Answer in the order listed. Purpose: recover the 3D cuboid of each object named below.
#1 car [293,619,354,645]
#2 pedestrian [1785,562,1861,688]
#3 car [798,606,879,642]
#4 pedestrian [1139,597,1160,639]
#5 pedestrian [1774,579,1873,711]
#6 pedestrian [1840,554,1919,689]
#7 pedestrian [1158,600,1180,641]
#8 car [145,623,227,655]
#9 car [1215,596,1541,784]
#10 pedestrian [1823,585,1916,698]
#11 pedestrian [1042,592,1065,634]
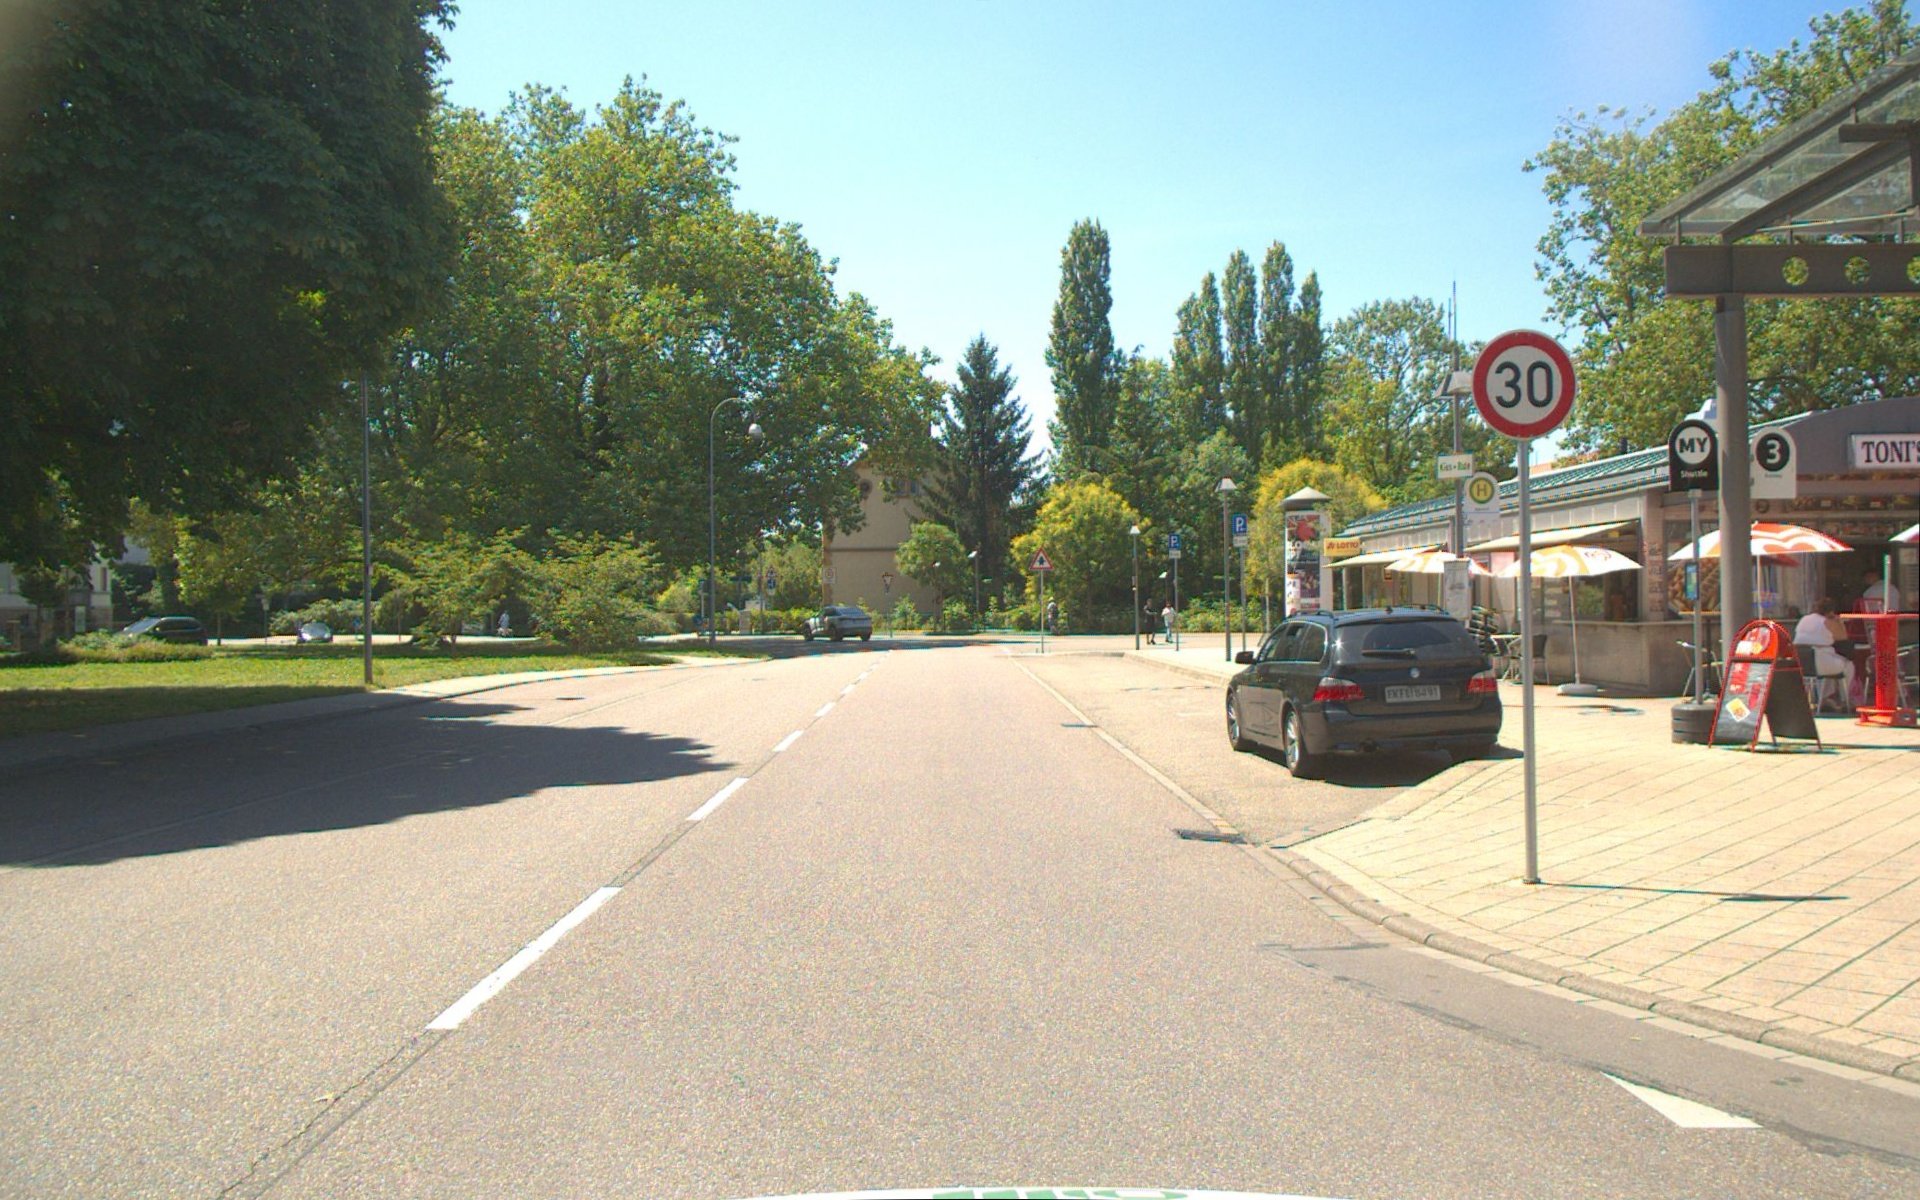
[{"bbox_3d":[-35.353,1.758,91.967,1.779,1.333,3.989,-1,0,0],"label":"car"},{"bbox_3d":[12.309,0.350,23.608,0.672,1.768,0.707,-1,-1,-1],"label":"pedestrian"},{"bbox_3d":[-5.847,1.128,79.352,1.963,1.655,4.727,-1,0,-31],"label":"car"},{"bbox_3d":[7.688,0.729,66.980,0.623,1.678,0.750,-1,-3,27],"label":"pedestrian"},{"bbox_3d":[9.718,0.493,18.619,0.886,1.442,0.679,0,-1,-38],"label":"pedestrian"},{"bbox_3d":[12.331,0.284,22.147,0.672,1.768,0.707,-1,0,-1],"label":"pedestrian"},{"bbox_3d":[8.675,0.840,68.548,0.706,1.678,0.750,-1,-3,27],"label":"pedestrian"},{"bbox_3d":[-36.926,1.853,78.997,1.517,1.435,3.805,-1,0,14],"label":"car"},{"bbox_3d":[3.949,0.786,16.531,1.888,1.486,4.723,-3,0,-1],"label":"car"},{"bbox_3d":[11.124,0.496,20.233,0.885,1.335,0.680,0,-1,-36],"label":"pedestrian"},{"bbox_3d":[4.454,0.638,79.012,0.838,2.000,0.805,-1,-1,29],"label":"pedestrian"}]
